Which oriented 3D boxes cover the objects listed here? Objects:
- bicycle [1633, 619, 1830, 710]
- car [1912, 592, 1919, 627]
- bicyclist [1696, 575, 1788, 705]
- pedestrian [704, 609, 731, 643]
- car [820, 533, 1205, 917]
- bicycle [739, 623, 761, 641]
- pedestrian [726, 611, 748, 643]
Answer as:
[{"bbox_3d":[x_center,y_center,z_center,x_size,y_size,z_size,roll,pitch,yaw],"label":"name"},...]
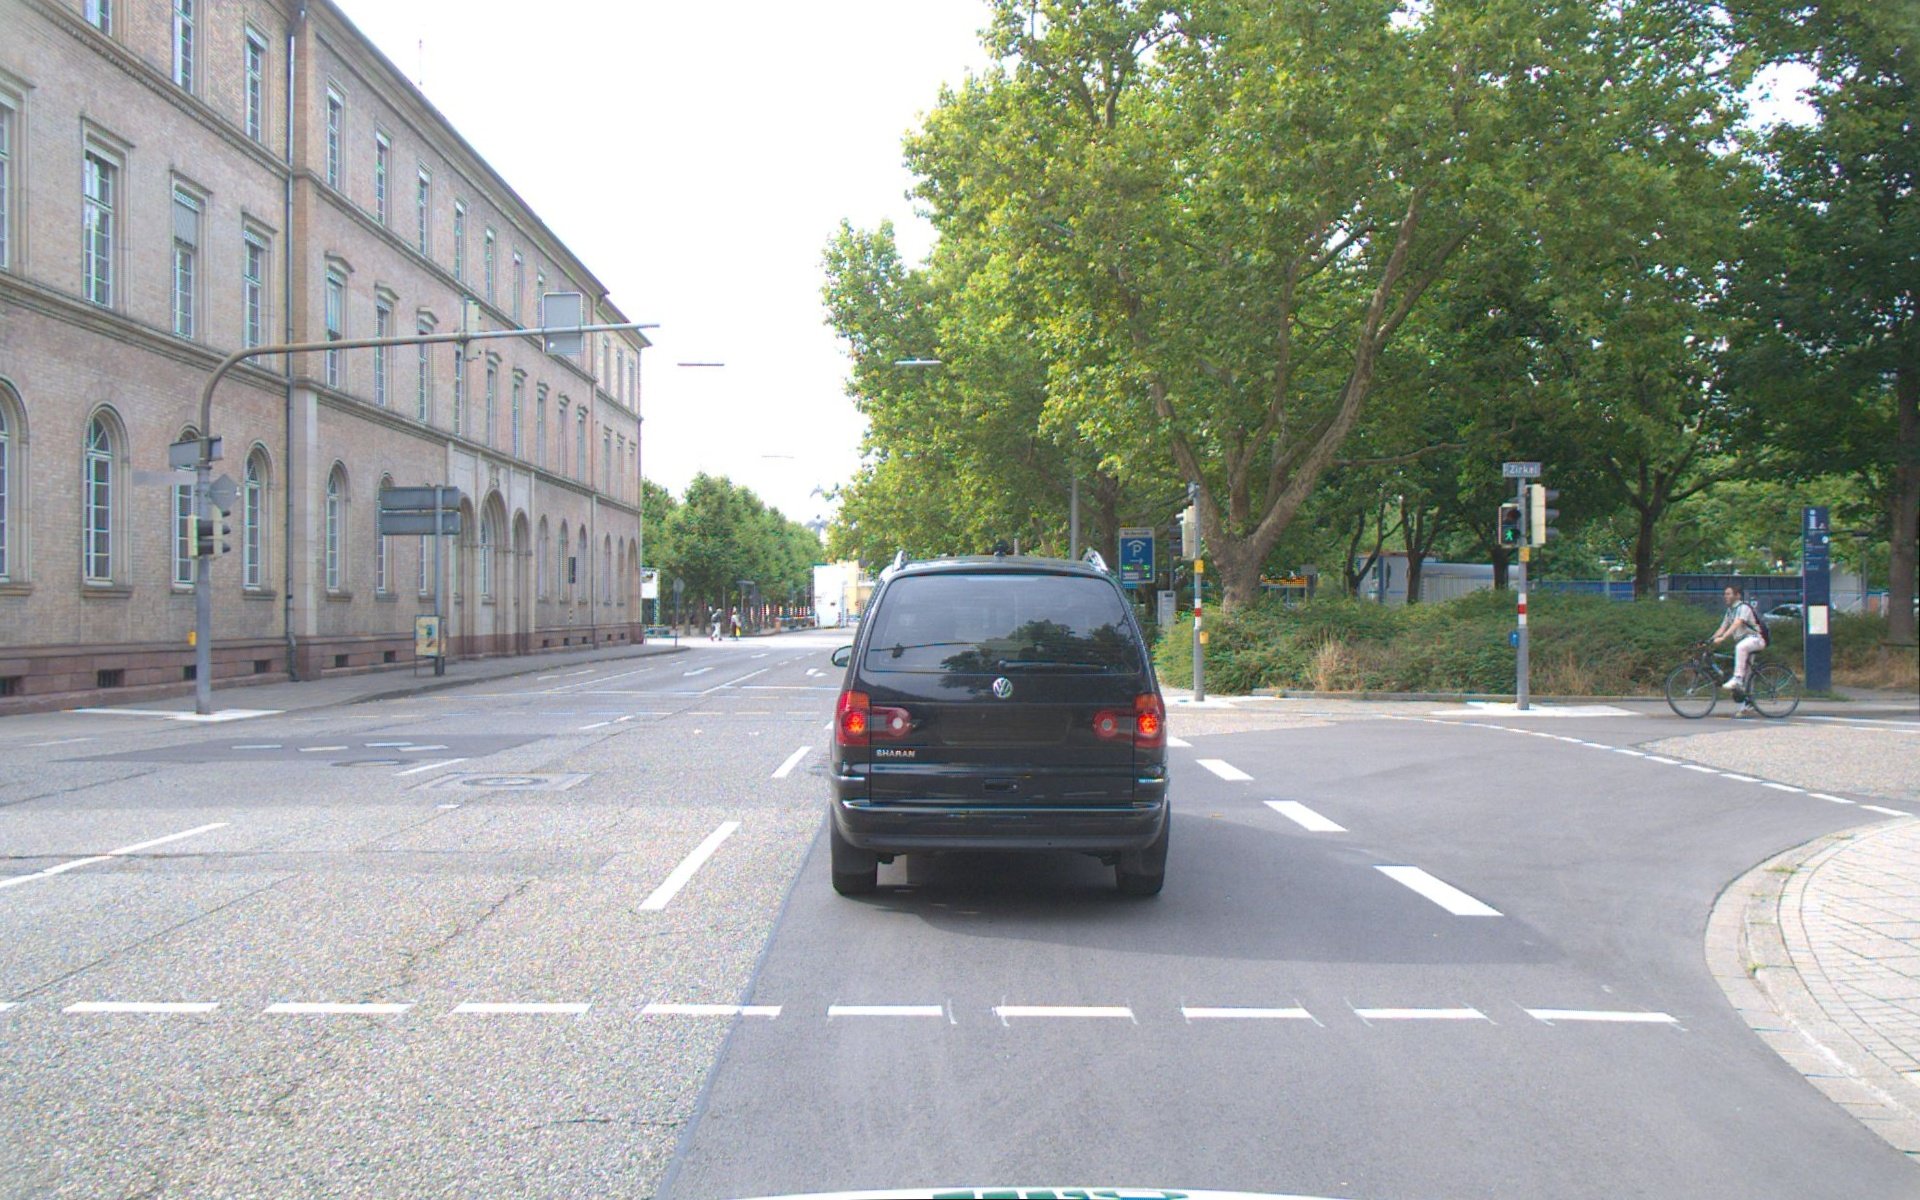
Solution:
[{"bbox_3d":[10.332,0.864,22.218,2.197,1.193,0.916,0,-2,3],"label":"bicycle"},{"bbox_3d":[46.205,0.468,76.499,1.954,1.608,3.786,1,0,-4],"label":"car"},{"bbox_3d":[10.491,0.536,22.228,0.812,1.708,0.916,0,-2,3],"label":"bicyclist"},{"bbox_3d":[-12.820,1.362,87.386,0.940,1.772,1.256,1,-1,17],"label":"pedestrian"},{"bbox_3d":[0.177,0.579,9.646,1.757,1.738,4.129,0,0,-2],"label":"car"},{"bbox_3d":[-14.008,2.140,110.384,0.937,1.129,2.566,2,0,-19],"label":"bicycle"},{"bbox_3d":[-11.731,1.404,87.000,0.877,1.670,0.853,1,-1,17],"label":"pedestrian"}]
